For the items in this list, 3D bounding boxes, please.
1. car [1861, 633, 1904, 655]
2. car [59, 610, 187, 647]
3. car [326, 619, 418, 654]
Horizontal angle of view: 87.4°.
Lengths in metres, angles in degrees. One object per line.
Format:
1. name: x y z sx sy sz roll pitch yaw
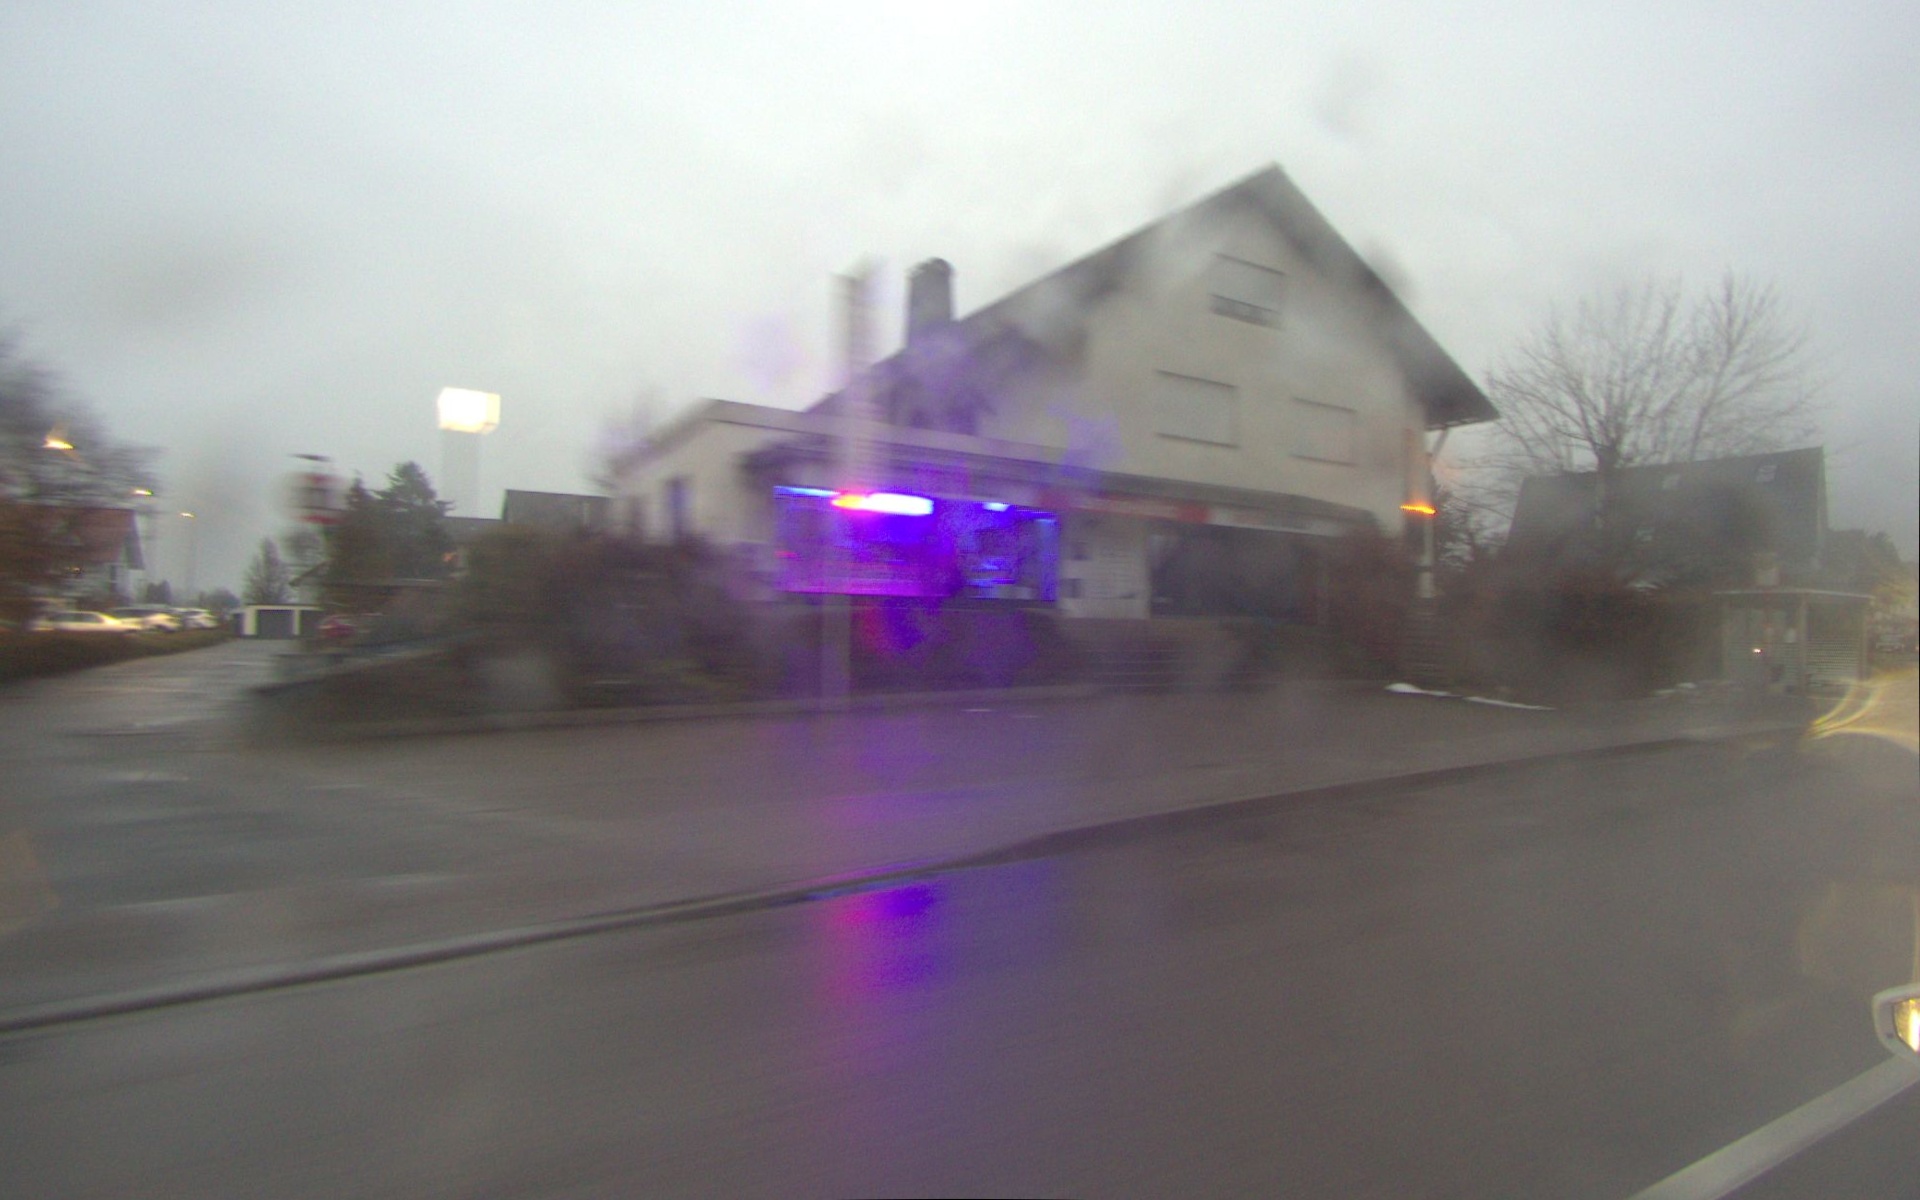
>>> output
1. car: 66.811 3.179 72.798 1.754 1.411 3.987 2 -1 35
2. car: -40.783 1.358 49.100 4.463 1.662 1.922 0 2 -29
3. car: -25.086 1.553 42.911 3.337 1.350 1.425 2 2 -32
